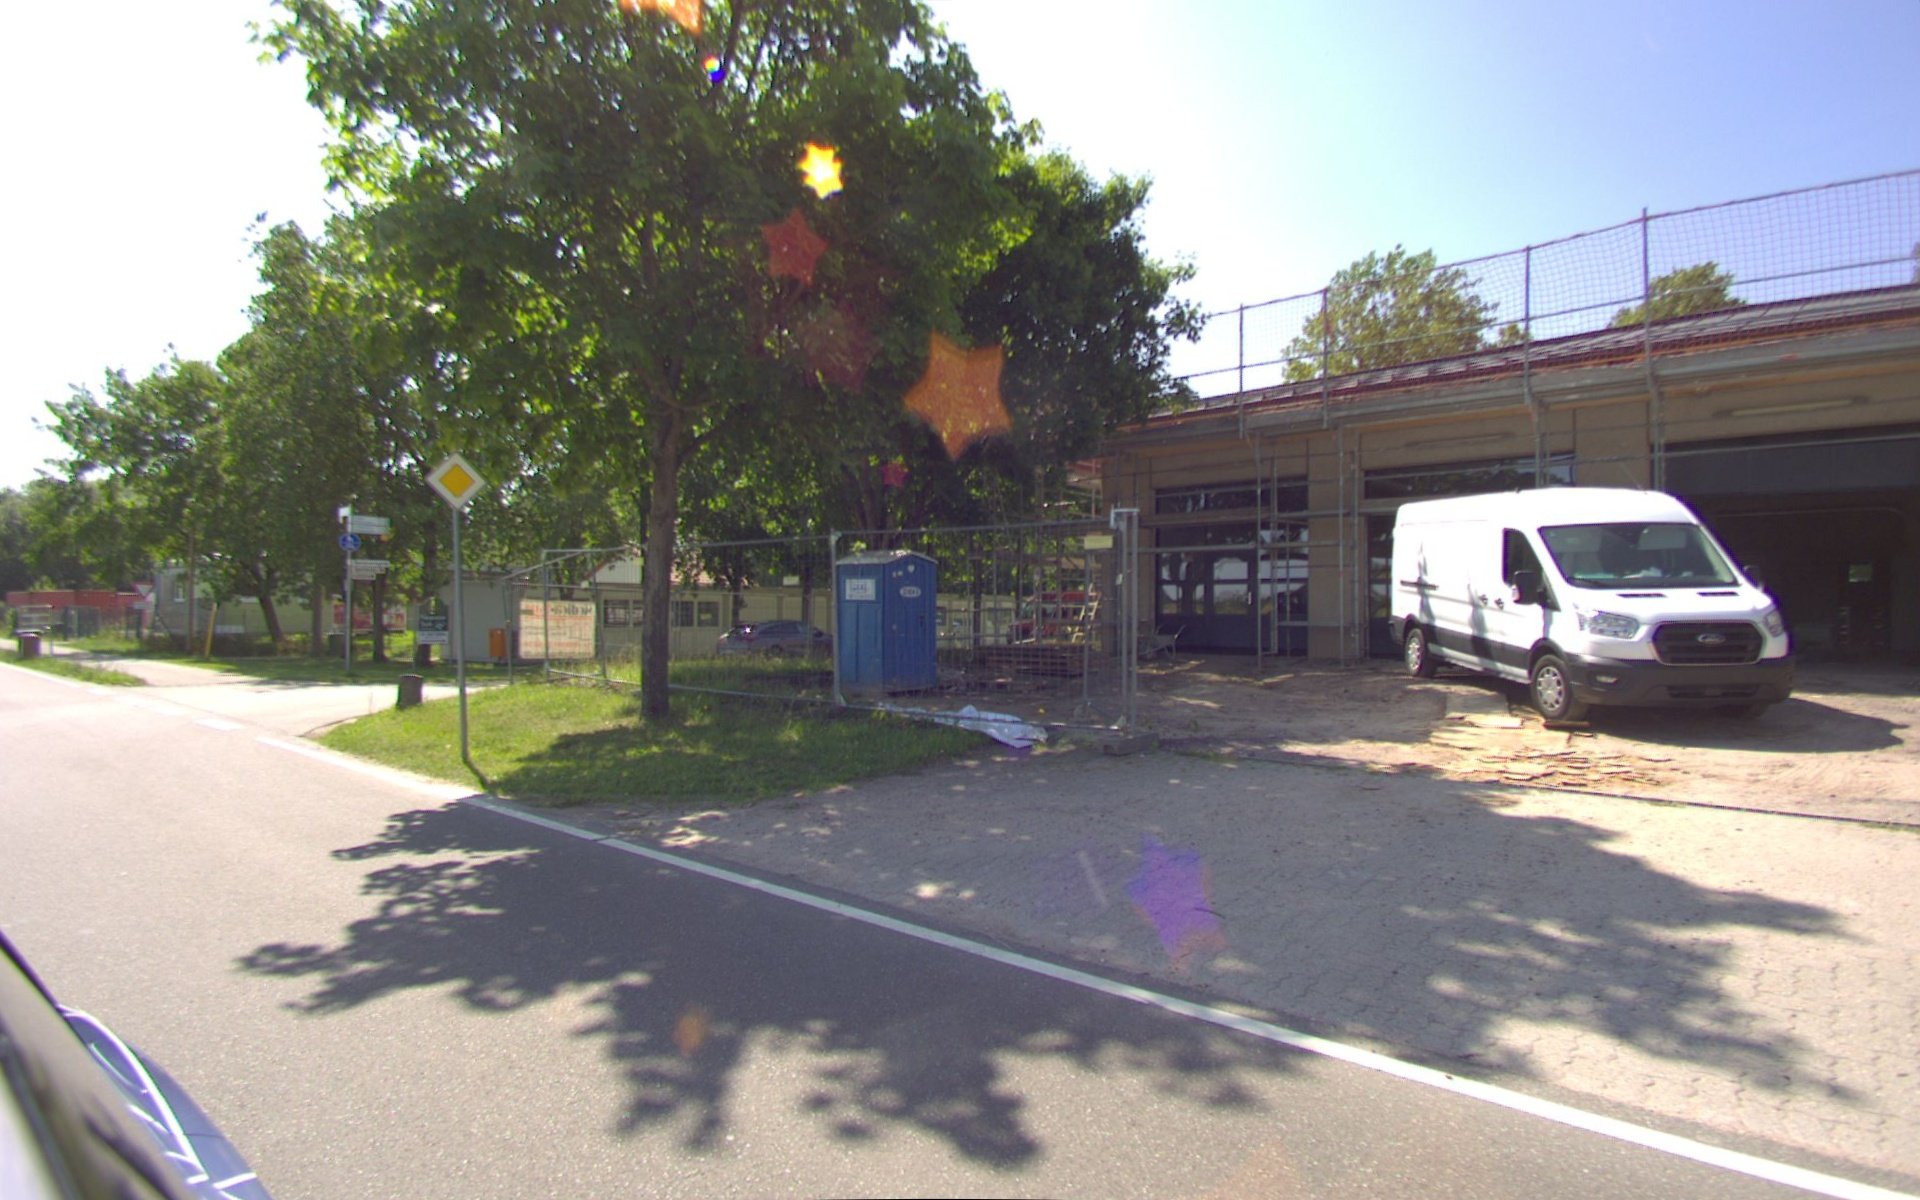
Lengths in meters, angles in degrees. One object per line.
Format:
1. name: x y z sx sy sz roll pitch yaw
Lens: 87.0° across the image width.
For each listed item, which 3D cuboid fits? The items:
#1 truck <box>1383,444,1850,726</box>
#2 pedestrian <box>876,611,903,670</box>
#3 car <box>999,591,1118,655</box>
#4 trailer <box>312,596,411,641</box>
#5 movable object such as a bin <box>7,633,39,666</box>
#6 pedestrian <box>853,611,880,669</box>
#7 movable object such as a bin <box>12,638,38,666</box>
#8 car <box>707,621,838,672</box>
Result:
1. truck: 7.088 -0.106 12.014 1.974 2.502 5.925 0 -1 4
2. pedestrian: -2.159 1.238 30.887 0.585 1.764 0.598 -1 -2 32
3. car: 4.346 1.005 43.772 2.120 2.597 5.997 -1 -2 40
4. trailer: -31.972 1.021 54.194 1.820 2.295 4.197 -1 -2 28
5. movable object such as a bin: -30.084 1.572 32.494 0.690 1.032 0.749 2 -2 -41
6. pedestrian: -2.896 1.244 31.378 0.585 1.764 0.598 -1 -2 32
7. movable object such as a bin: -29.520 1.642 31.959 0.555 0.883 0.614 2 -2 -41
8. car: -5.557 1.357 30.370 1.755 1.410 3.768 -1 -2 34
